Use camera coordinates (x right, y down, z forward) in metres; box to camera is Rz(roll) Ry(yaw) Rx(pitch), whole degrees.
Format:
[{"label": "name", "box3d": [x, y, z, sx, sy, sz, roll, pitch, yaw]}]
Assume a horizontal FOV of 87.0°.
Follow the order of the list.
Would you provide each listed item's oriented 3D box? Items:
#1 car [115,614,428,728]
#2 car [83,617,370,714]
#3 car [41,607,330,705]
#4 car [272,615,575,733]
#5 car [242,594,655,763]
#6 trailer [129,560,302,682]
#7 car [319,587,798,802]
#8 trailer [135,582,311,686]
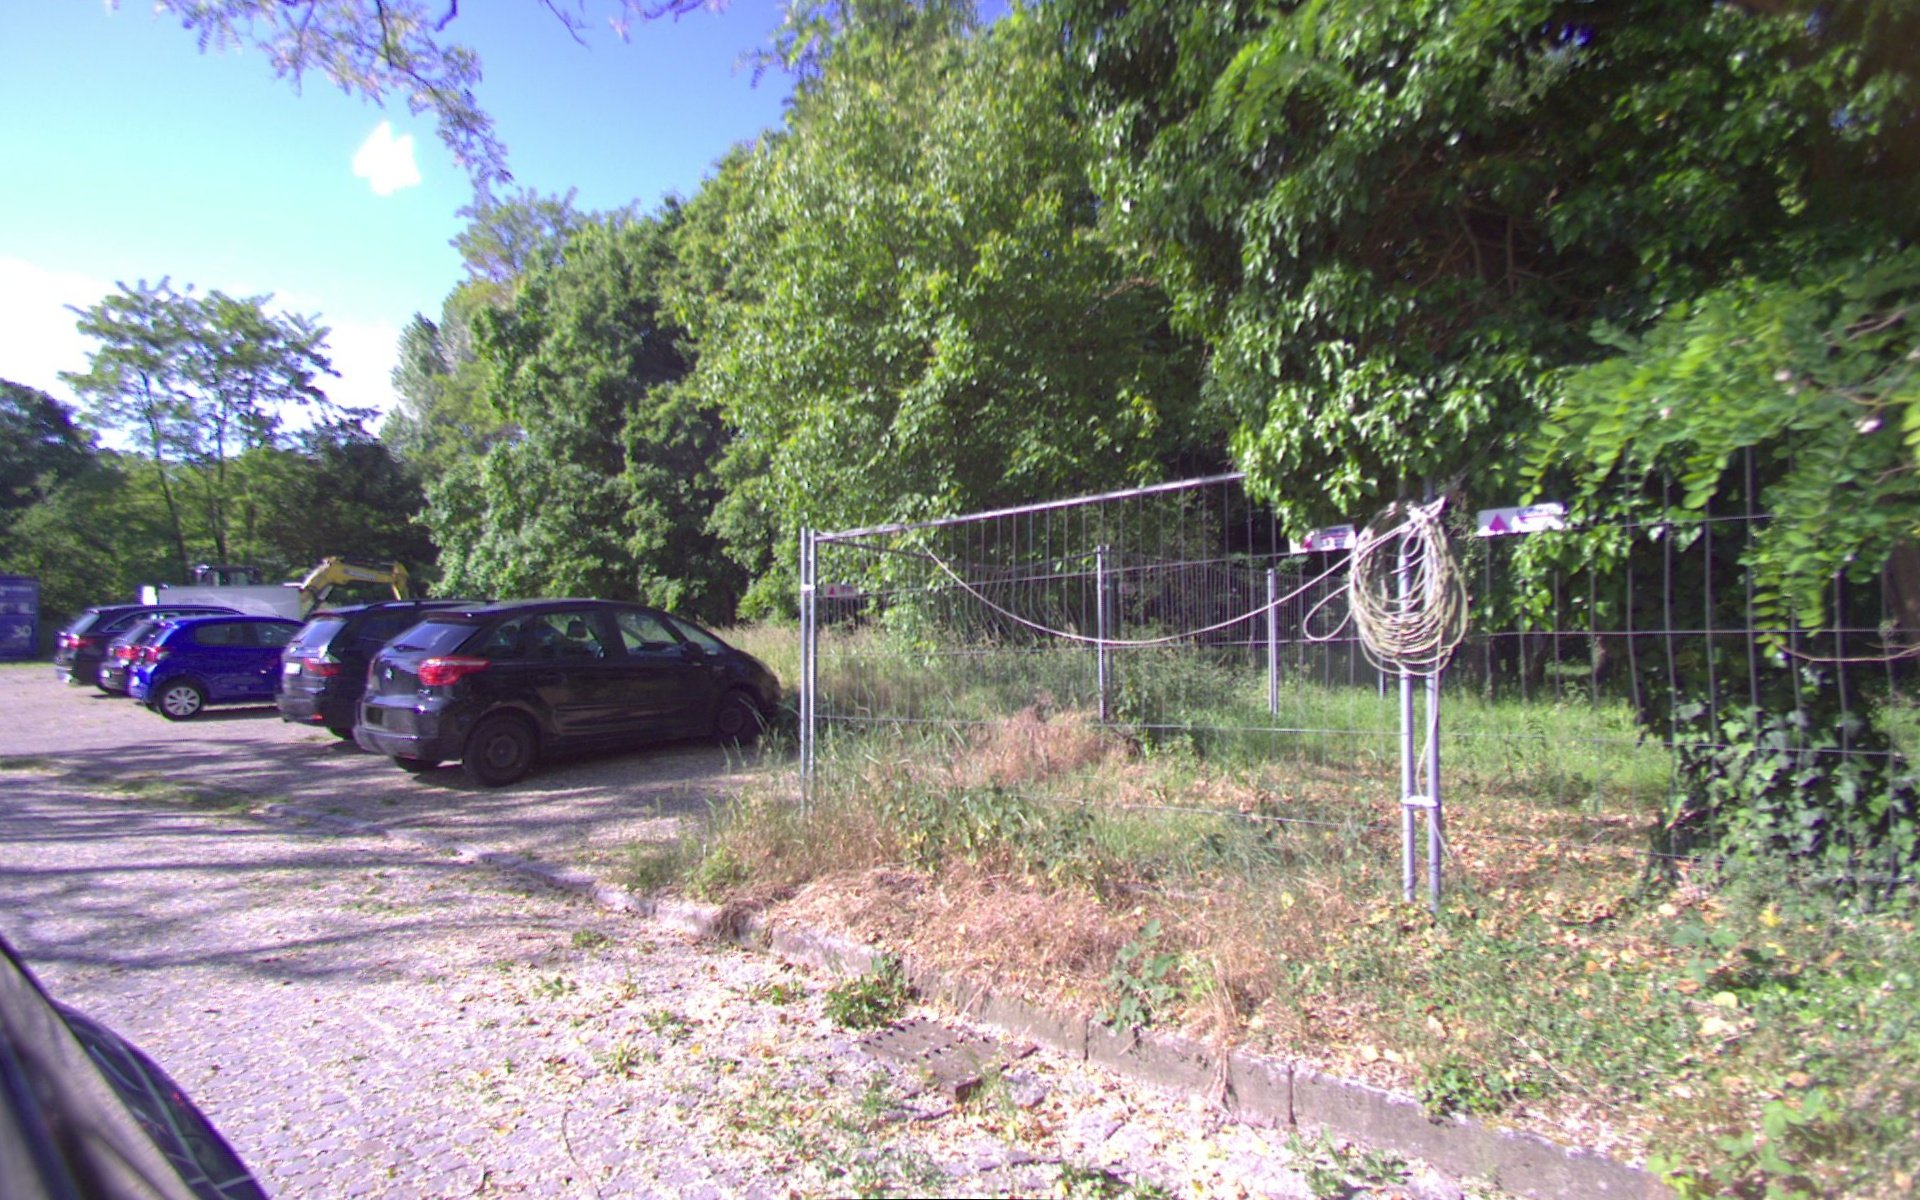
[{"label": "car", "box3d": [-10.620, 0.998, 15.779, 1.786, 1.469, 3.736, -1, 0, 43]}, {"label": "car", "box3d": [-12.597, 1.037, 17.527, 1.895, 1.422, 3.737, 0, 0, 42]}, {"label": "car", "box3d": [-14.550, 0.962, 19.174, 1.970, 1.602, 4.073, -1, 0, 42]}, {"label": "car", "box3d": [-7.877, 0.987, 15.031, 3.668, 1.462, 1.746, -1, 0, -42]}, {"label": "car", "box3d": [-6.207, 0.810, 12.713, 1.878, 1.643, 4.218, -1, 1, 39]}, {"label": "trailer", "box3d": [-17.321, 0.420, 23.582, 2.266, 2.557, 2.810, -1, 2, 44]}, {"label": "car", "box3d": [-3.877, 0.768, 10.446, 1.827, 1.601, 4.220, -2, 1, 37]}, {"label": "trailer", "box3d": [-15.872, 0.677, 21.832, 1.825, 2.066, 2.809, -1, 0, 44]}]
